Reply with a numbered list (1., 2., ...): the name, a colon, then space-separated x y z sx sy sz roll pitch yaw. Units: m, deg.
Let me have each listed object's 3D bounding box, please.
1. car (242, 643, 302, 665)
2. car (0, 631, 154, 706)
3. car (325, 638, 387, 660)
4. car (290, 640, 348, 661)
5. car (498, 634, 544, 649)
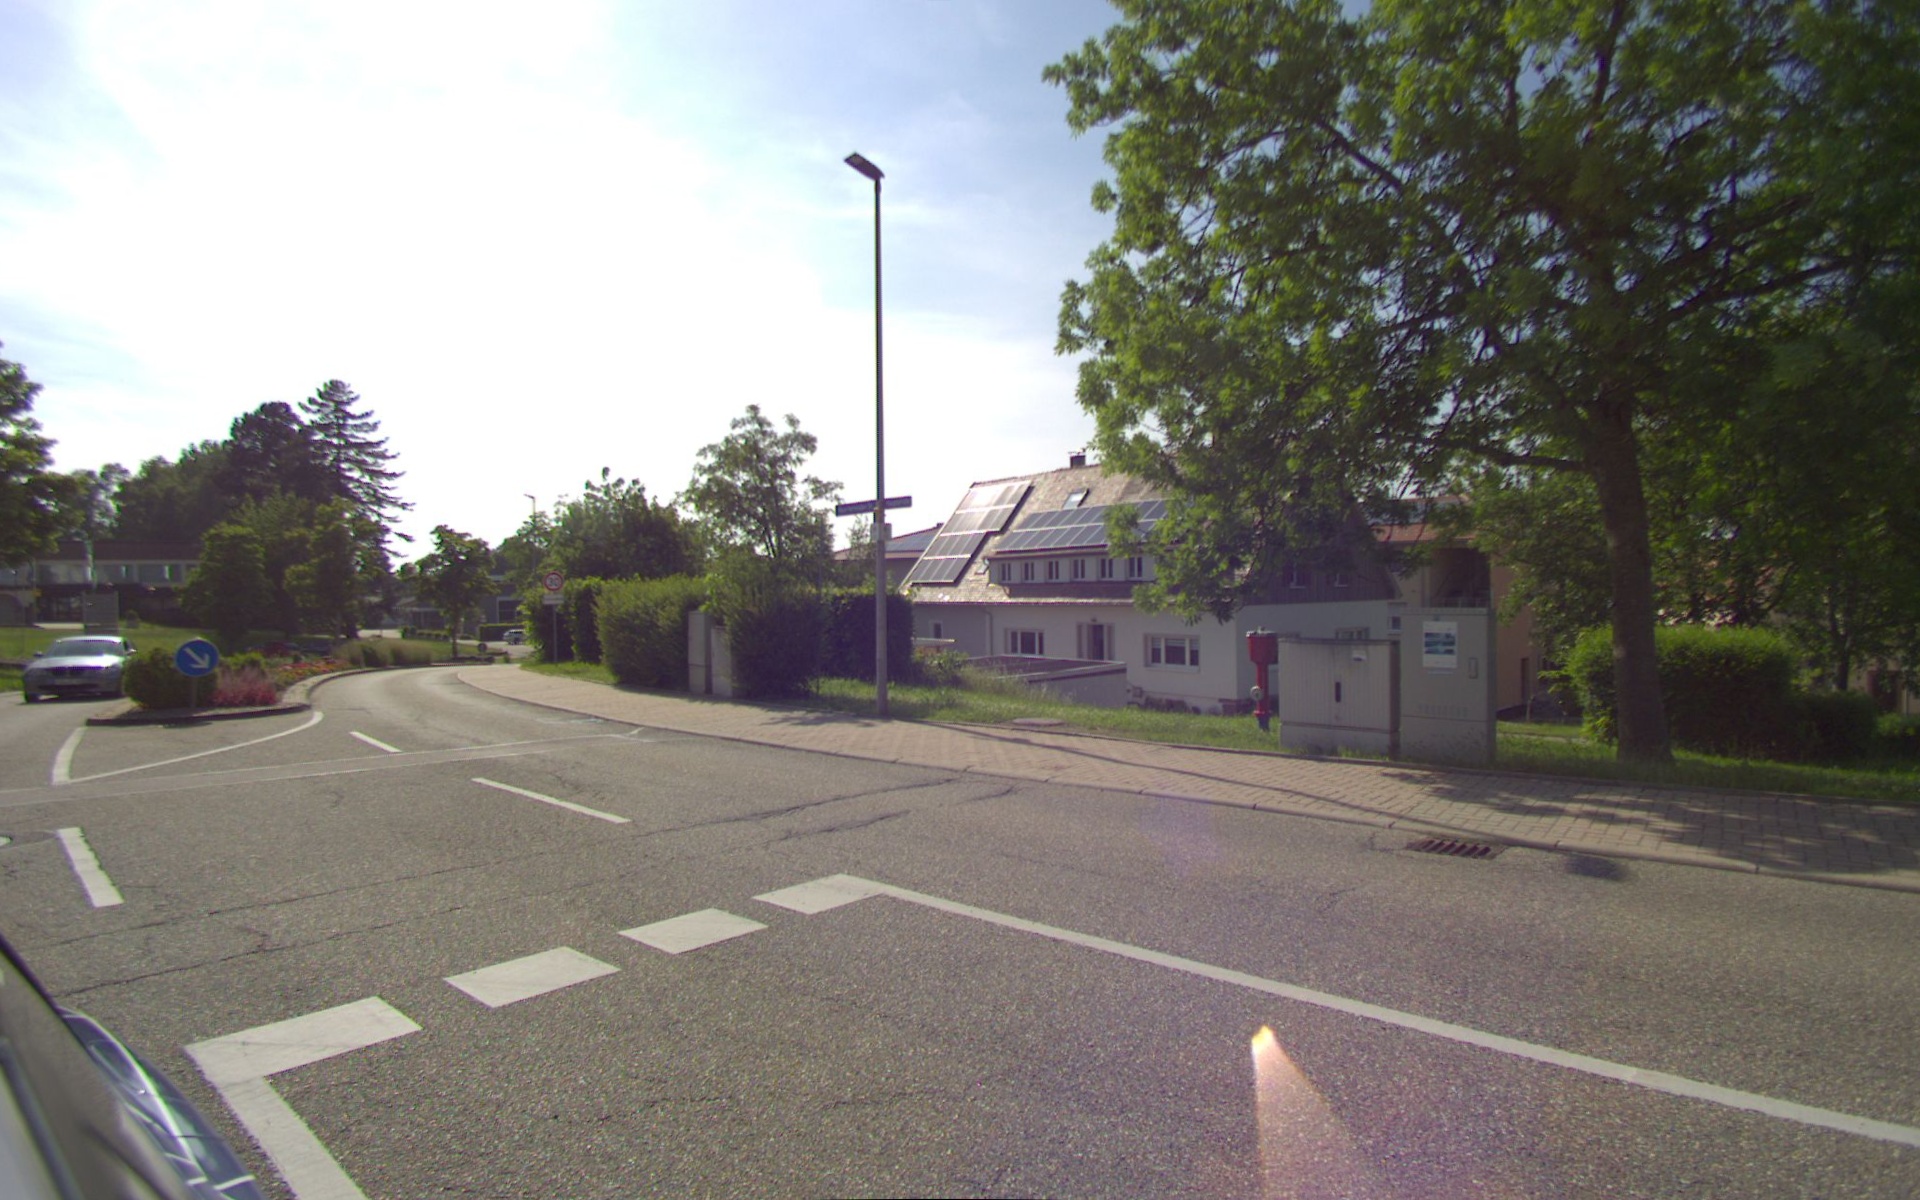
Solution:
1. car: -49.654 3.871 73.077 3.277 1.415 1.708 2 -1 11
2. car: -20.132 1.527 23.221 1.871 1.519 4.012 4 -3 -30
3. car: -47.949 3.905 80.331 3.963 1.630 1.990 1 -3 16
4. car: -48.321 3.801 76.297 3.507 1.438 1.677 1 -3 16
5. car: -49.102 4.655 113.188 1.794 1.527 4.306 -1 -4 43
